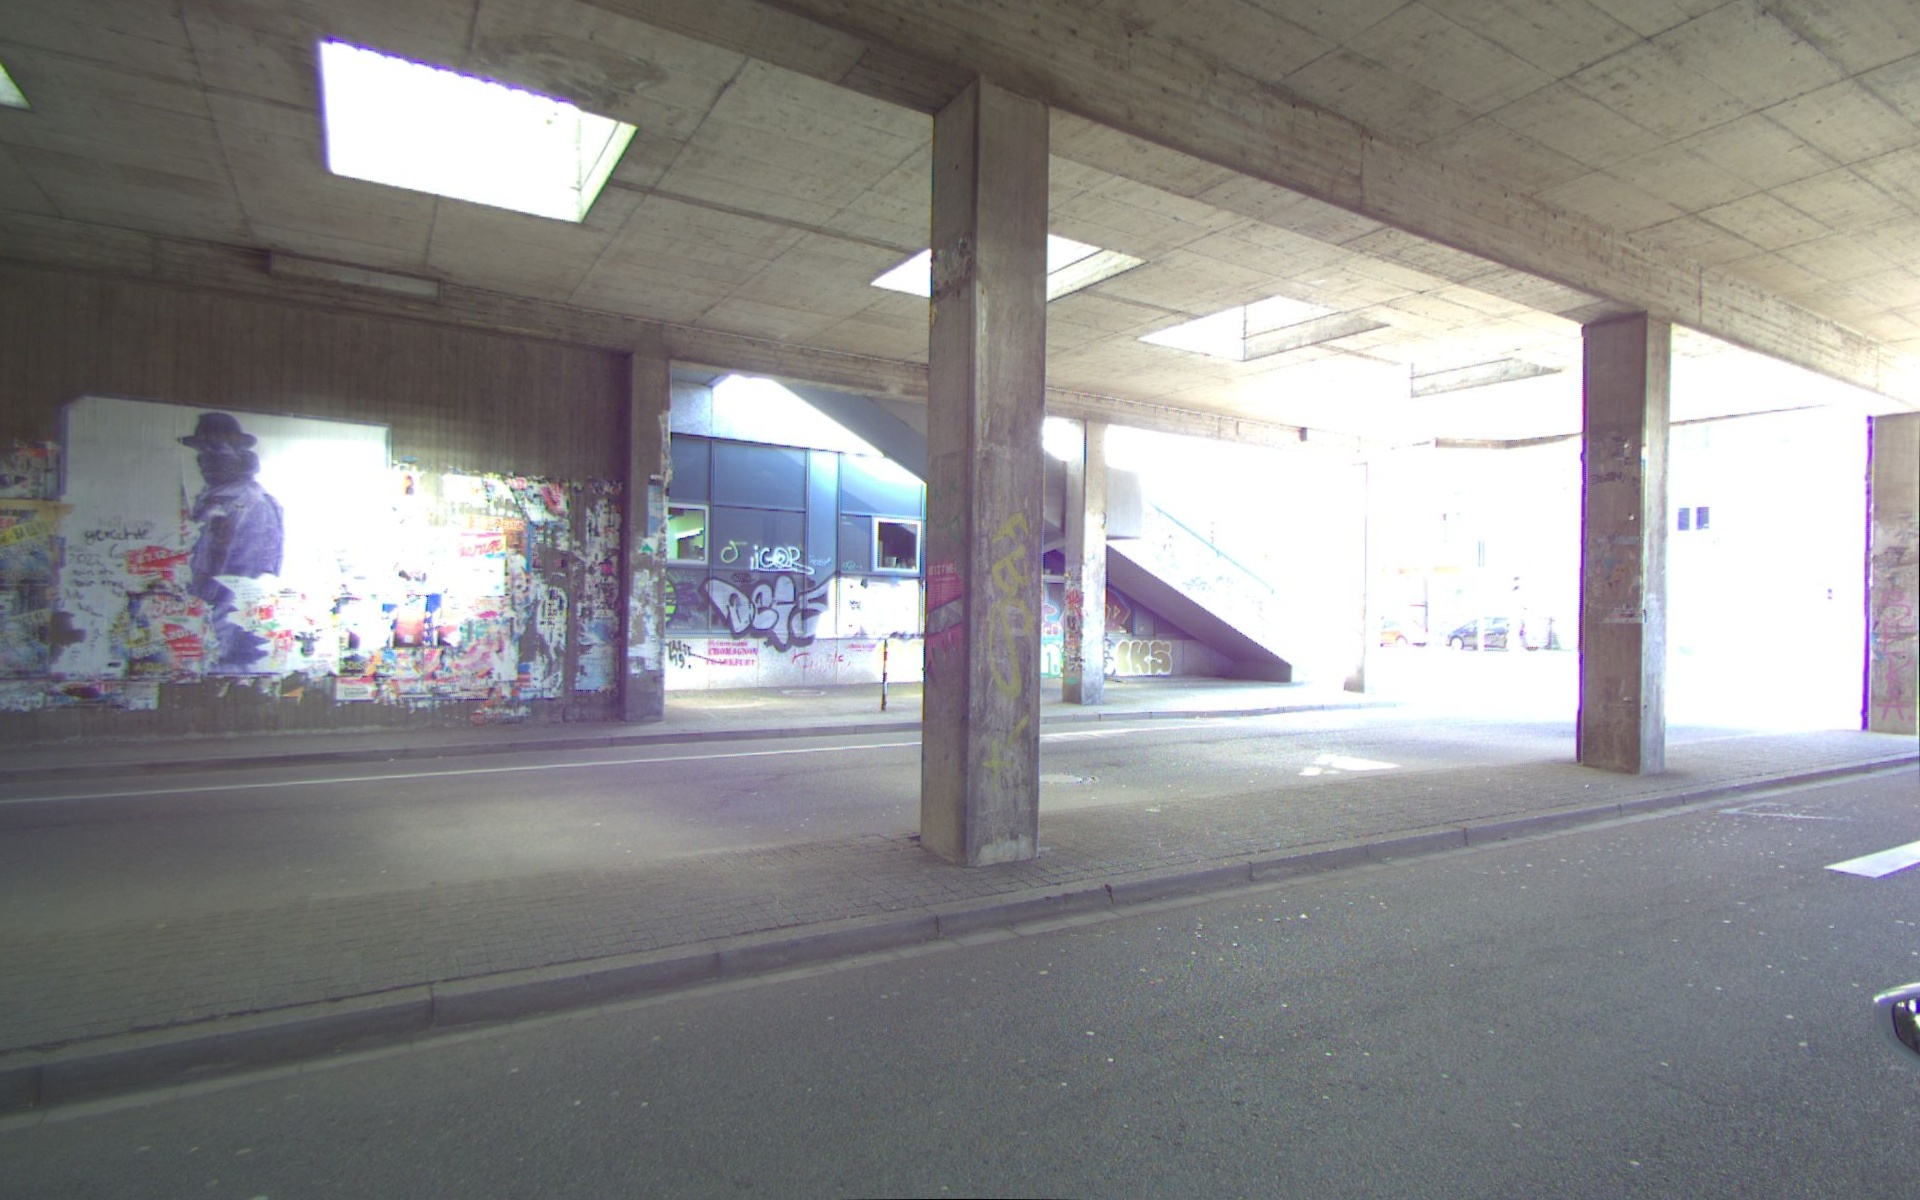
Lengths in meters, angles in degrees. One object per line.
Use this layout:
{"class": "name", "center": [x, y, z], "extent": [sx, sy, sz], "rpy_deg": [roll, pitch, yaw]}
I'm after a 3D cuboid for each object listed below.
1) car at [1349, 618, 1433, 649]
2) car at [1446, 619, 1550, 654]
{"class": "car", "center": [22.540, 1.733, 52.600], "extent": [1.730, 1.495, 3.741], "rpy_deg": [2, -1, -31]}
{"class": "car", "center": [25.452, 1.714, 47.644], "extent": [1.718, 1.495, 4.089], "rpy_deg": [2, -1, -31]}
